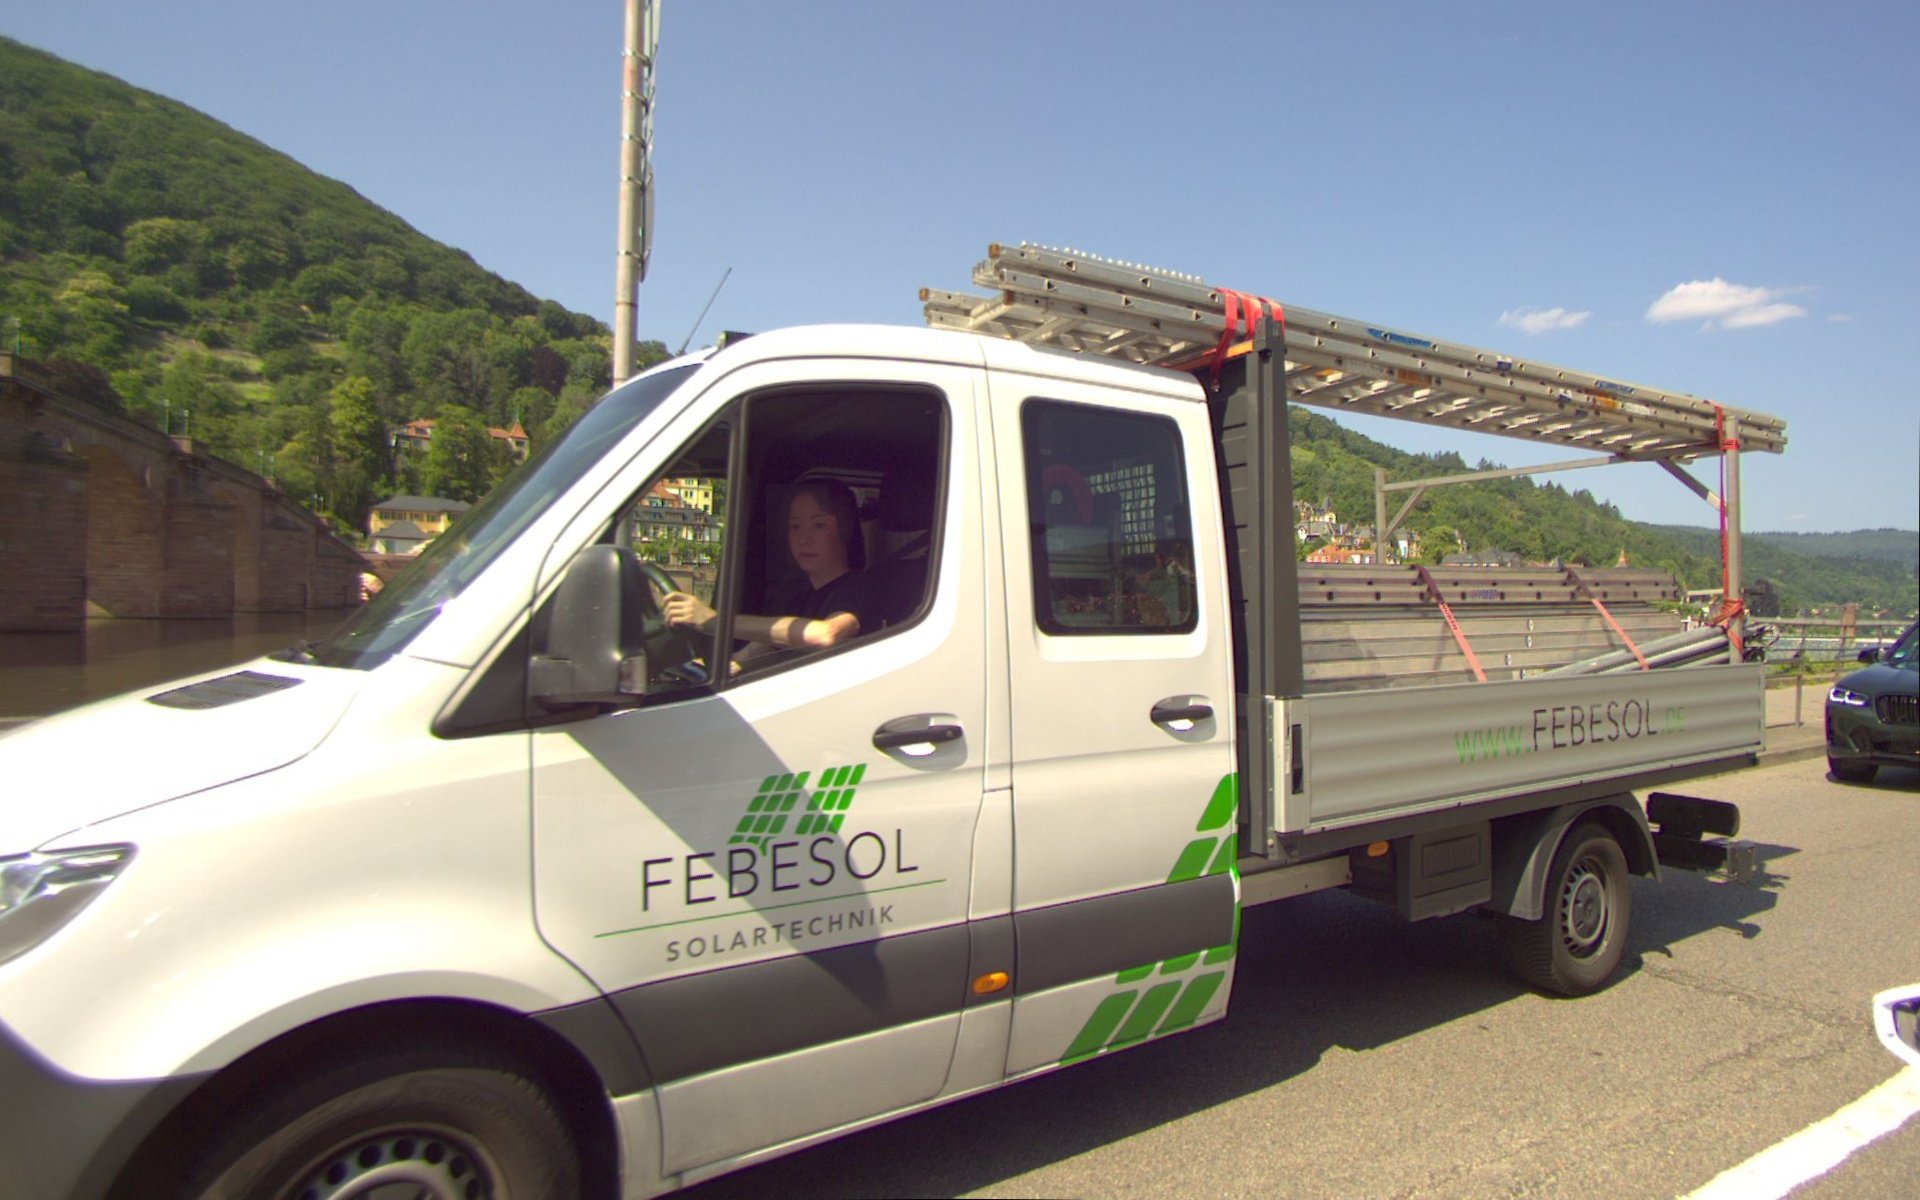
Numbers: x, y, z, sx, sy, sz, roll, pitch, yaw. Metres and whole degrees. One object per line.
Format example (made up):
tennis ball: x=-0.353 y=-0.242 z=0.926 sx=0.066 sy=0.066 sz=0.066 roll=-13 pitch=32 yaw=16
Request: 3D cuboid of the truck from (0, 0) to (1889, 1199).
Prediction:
truck: x=0.936 y=-0.161 z=4.226 sx=7.525 sy=3.304 sz=2.364 roll=1 pitch=-2 yaw=-32

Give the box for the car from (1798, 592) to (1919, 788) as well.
car: x=10.255 y=0.824 z=9.867 sx=4.404 sy=1.703 sz=1.853 roll=1 pitch=-1 yaw=-32

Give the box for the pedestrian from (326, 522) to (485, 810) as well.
pedestrian: x=-3.580 y=0.395 z=6.494 sx=0.743 sy=1.745 sz=0.544 roll=2 pitch=1 yaw=26
